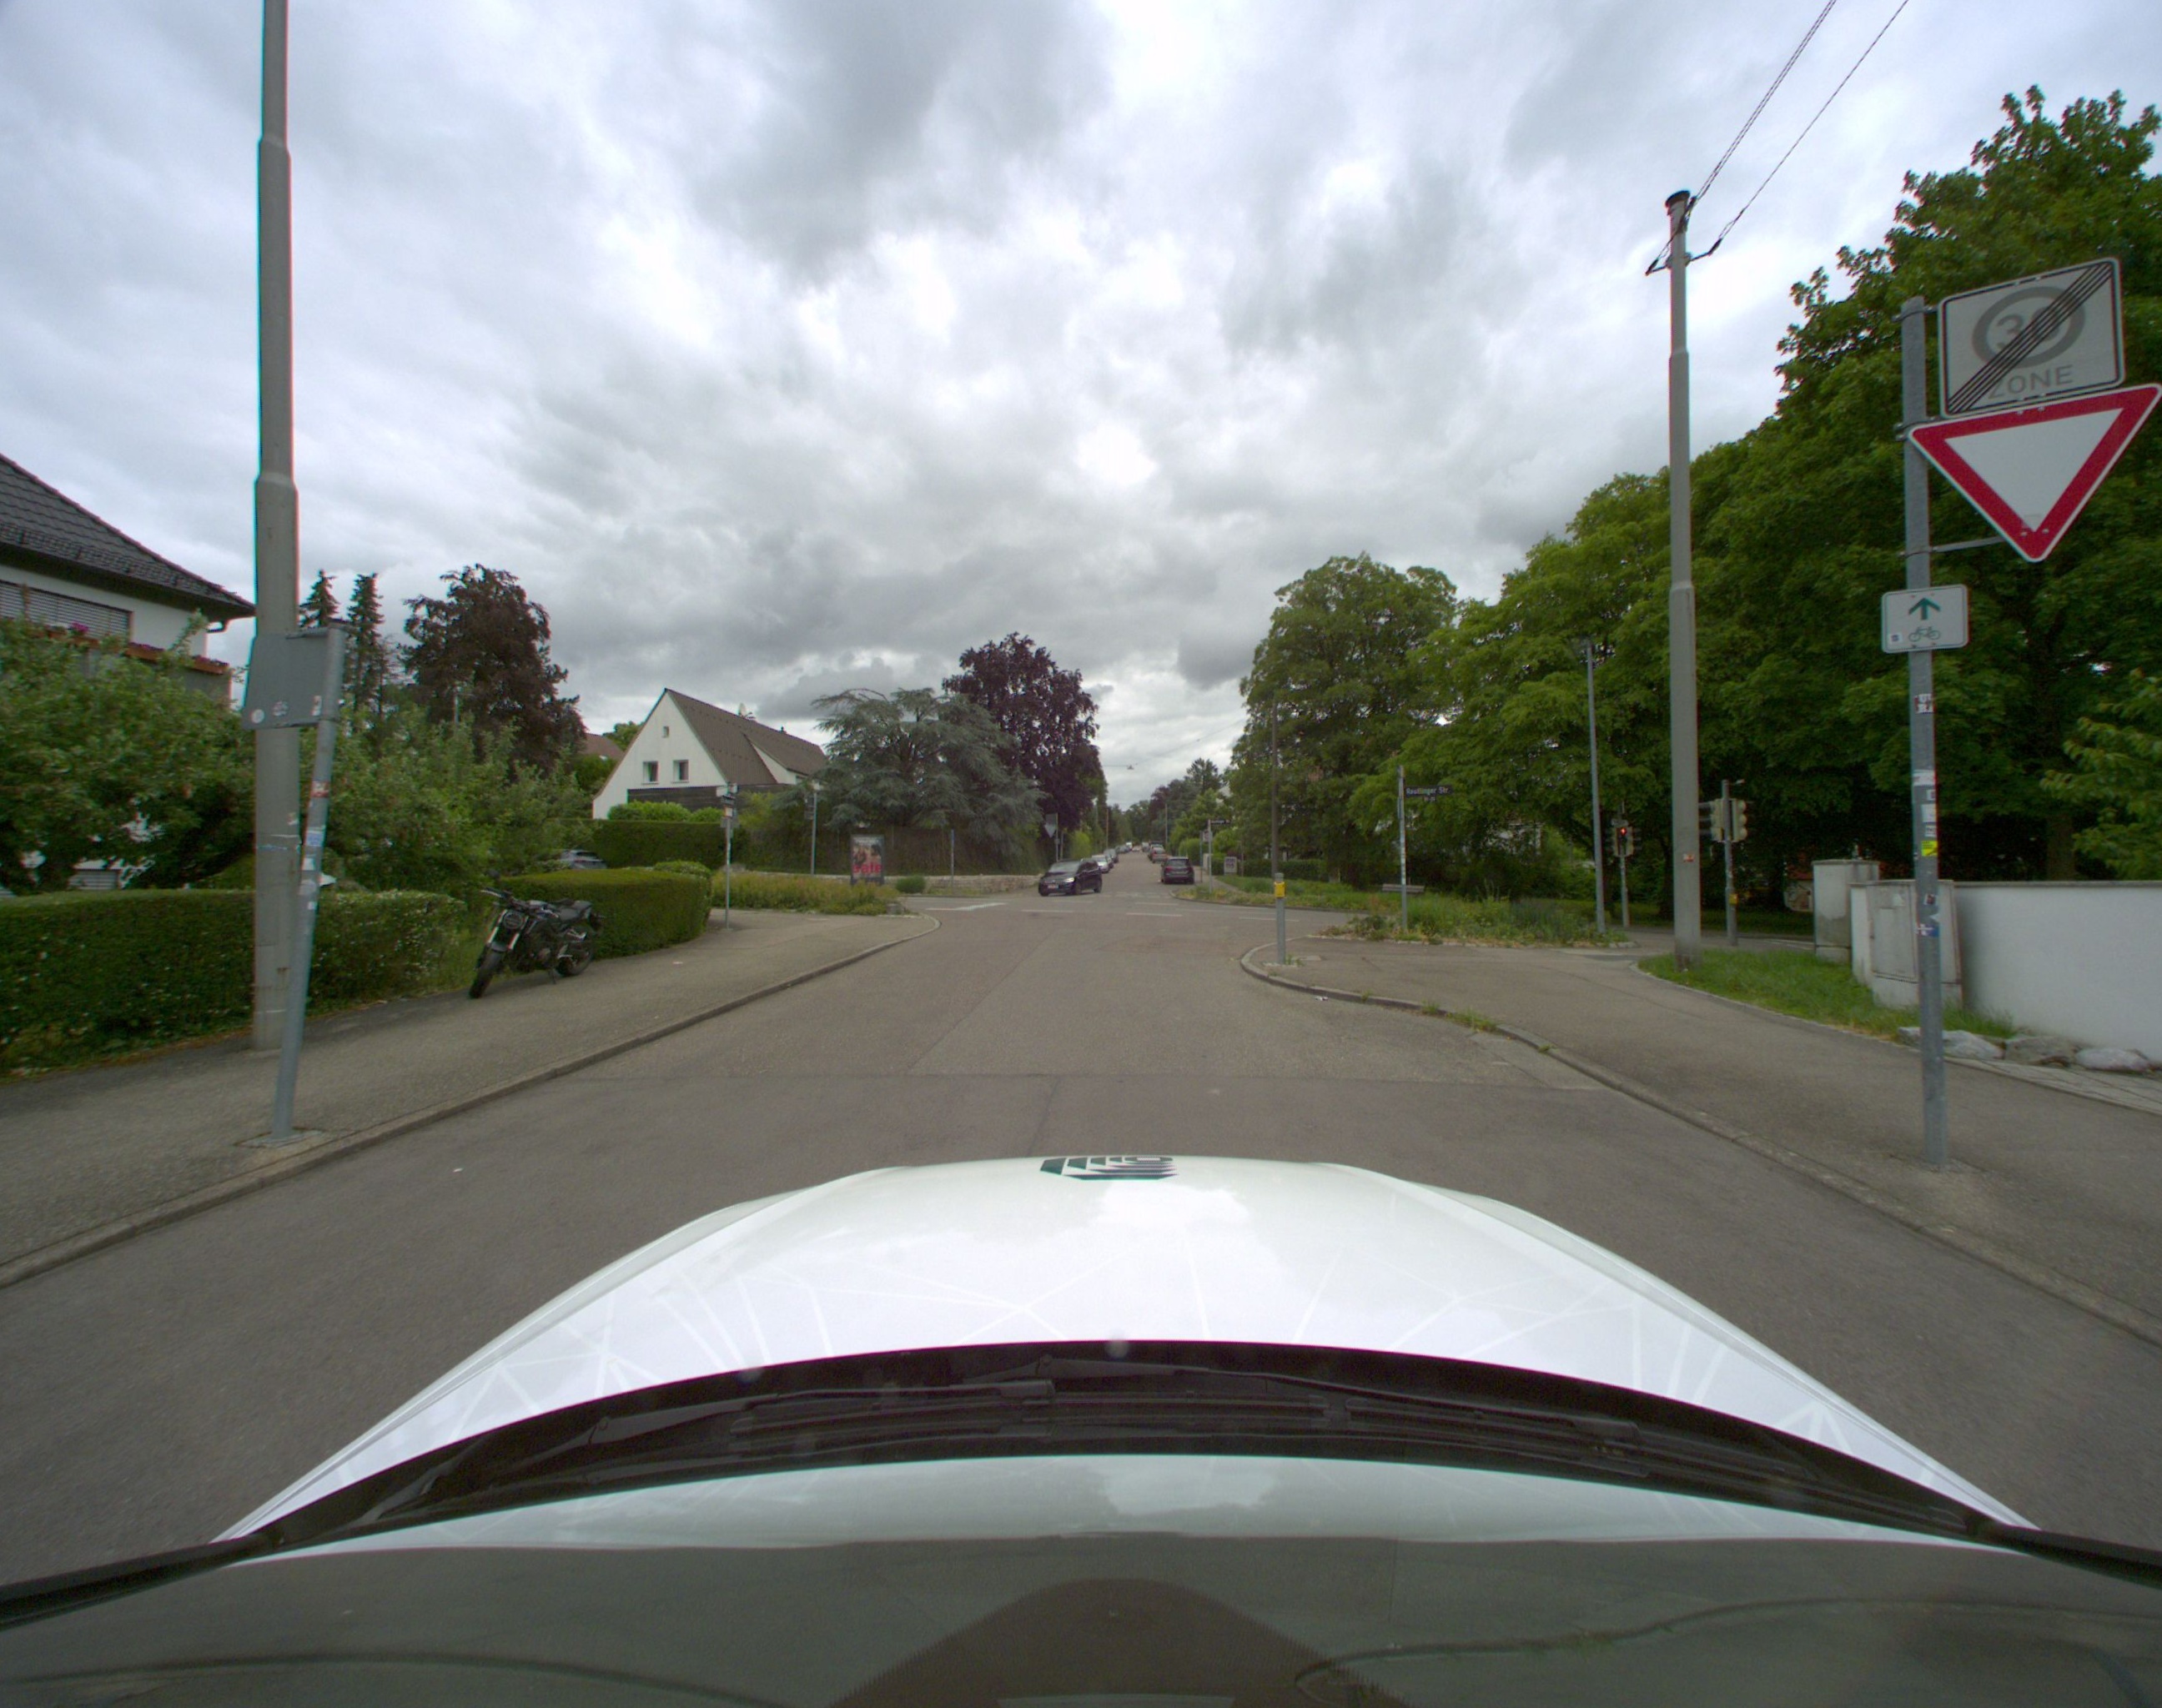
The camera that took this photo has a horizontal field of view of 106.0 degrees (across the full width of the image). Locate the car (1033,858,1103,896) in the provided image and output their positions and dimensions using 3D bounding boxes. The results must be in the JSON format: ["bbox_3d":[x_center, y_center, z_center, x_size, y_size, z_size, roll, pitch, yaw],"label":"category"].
[{"bbox_3d":[-0.522,0.999,37.305,1.833,1.611,4.331,-1,-1,18],"label":"car"}]

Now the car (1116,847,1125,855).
[{"bbox_3d":[7.626,-0.487,156.408,1.707,1.463,3.660,2,0,4],"label":"car"}]

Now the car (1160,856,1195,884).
[{"bbox_3d":[5.625,0.903,47.994,1.809,1.536,4.003,-1,0,3],"label":"car"}]

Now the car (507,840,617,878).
[{"bbox_3d":[-23.034,0.218,36.191,3.956,1.464,1.869,2,-3,17],"label":"car"}]

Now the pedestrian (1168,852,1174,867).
[{"bbox_3d":[11.156,0.707,100.970,0.754,1.871,0.620,2,0,3],"label":"pedestrian"}]

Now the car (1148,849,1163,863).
[{"bbox_3d":[9.208,0.240,100.861,1.740,1.640,3.730,0,-1,2],"label":"car"}]

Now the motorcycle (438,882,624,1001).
[{"bbox_3d":[-6.310,0.943,9.531,0.771,1.139,2.144,-1,0,-2],"label":"motorcycle"}]

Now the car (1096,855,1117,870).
[{"bbox_3d":[2.482,0.810,78.654,1.939,1.442,4.002,0,0,2],"label":"car"}]

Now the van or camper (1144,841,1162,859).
[{"bbox_3d":[10.023,-0.514,113.756,2.105,2.405,5.247,0,-1,1],"label":"van or camper"}]

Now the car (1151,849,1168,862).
[{"bbox_3d":[8.793,0.194,91.167,1.603,1.413,3.474,2,0,1],"label":"car"}]

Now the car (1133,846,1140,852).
[{"bbox_3d":[14.315,-1.258,211.023,1.648,1.335,3.784,1,0,3],"label":"car"}]

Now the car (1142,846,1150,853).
[{"bbox_3d":[15.149,-1.060,188.799,1.807,1.574,4.004,0,-1,3],"label":"car"}]

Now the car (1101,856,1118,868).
[{"bbox_3d":[3.400,0.948,96.509,1.939,1.442,4.002,0,0,2],"label":"car"}]

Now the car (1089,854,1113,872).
[{"bbox_3d":[1.735,0.730,68.035,1.939,1.442,4.002,0,0,2],"label":"car"}]

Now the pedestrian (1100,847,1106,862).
[{"bbox_3d":[3.074,0.064,113.722,0.851,2.013,0.872,2,0,-2],"label":"pedestrian"}]

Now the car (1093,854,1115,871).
[{"bbox_3d":[2.105,0.769,73.177,1.939,1.442,4.002,0,0,2],"label":"car"}]
